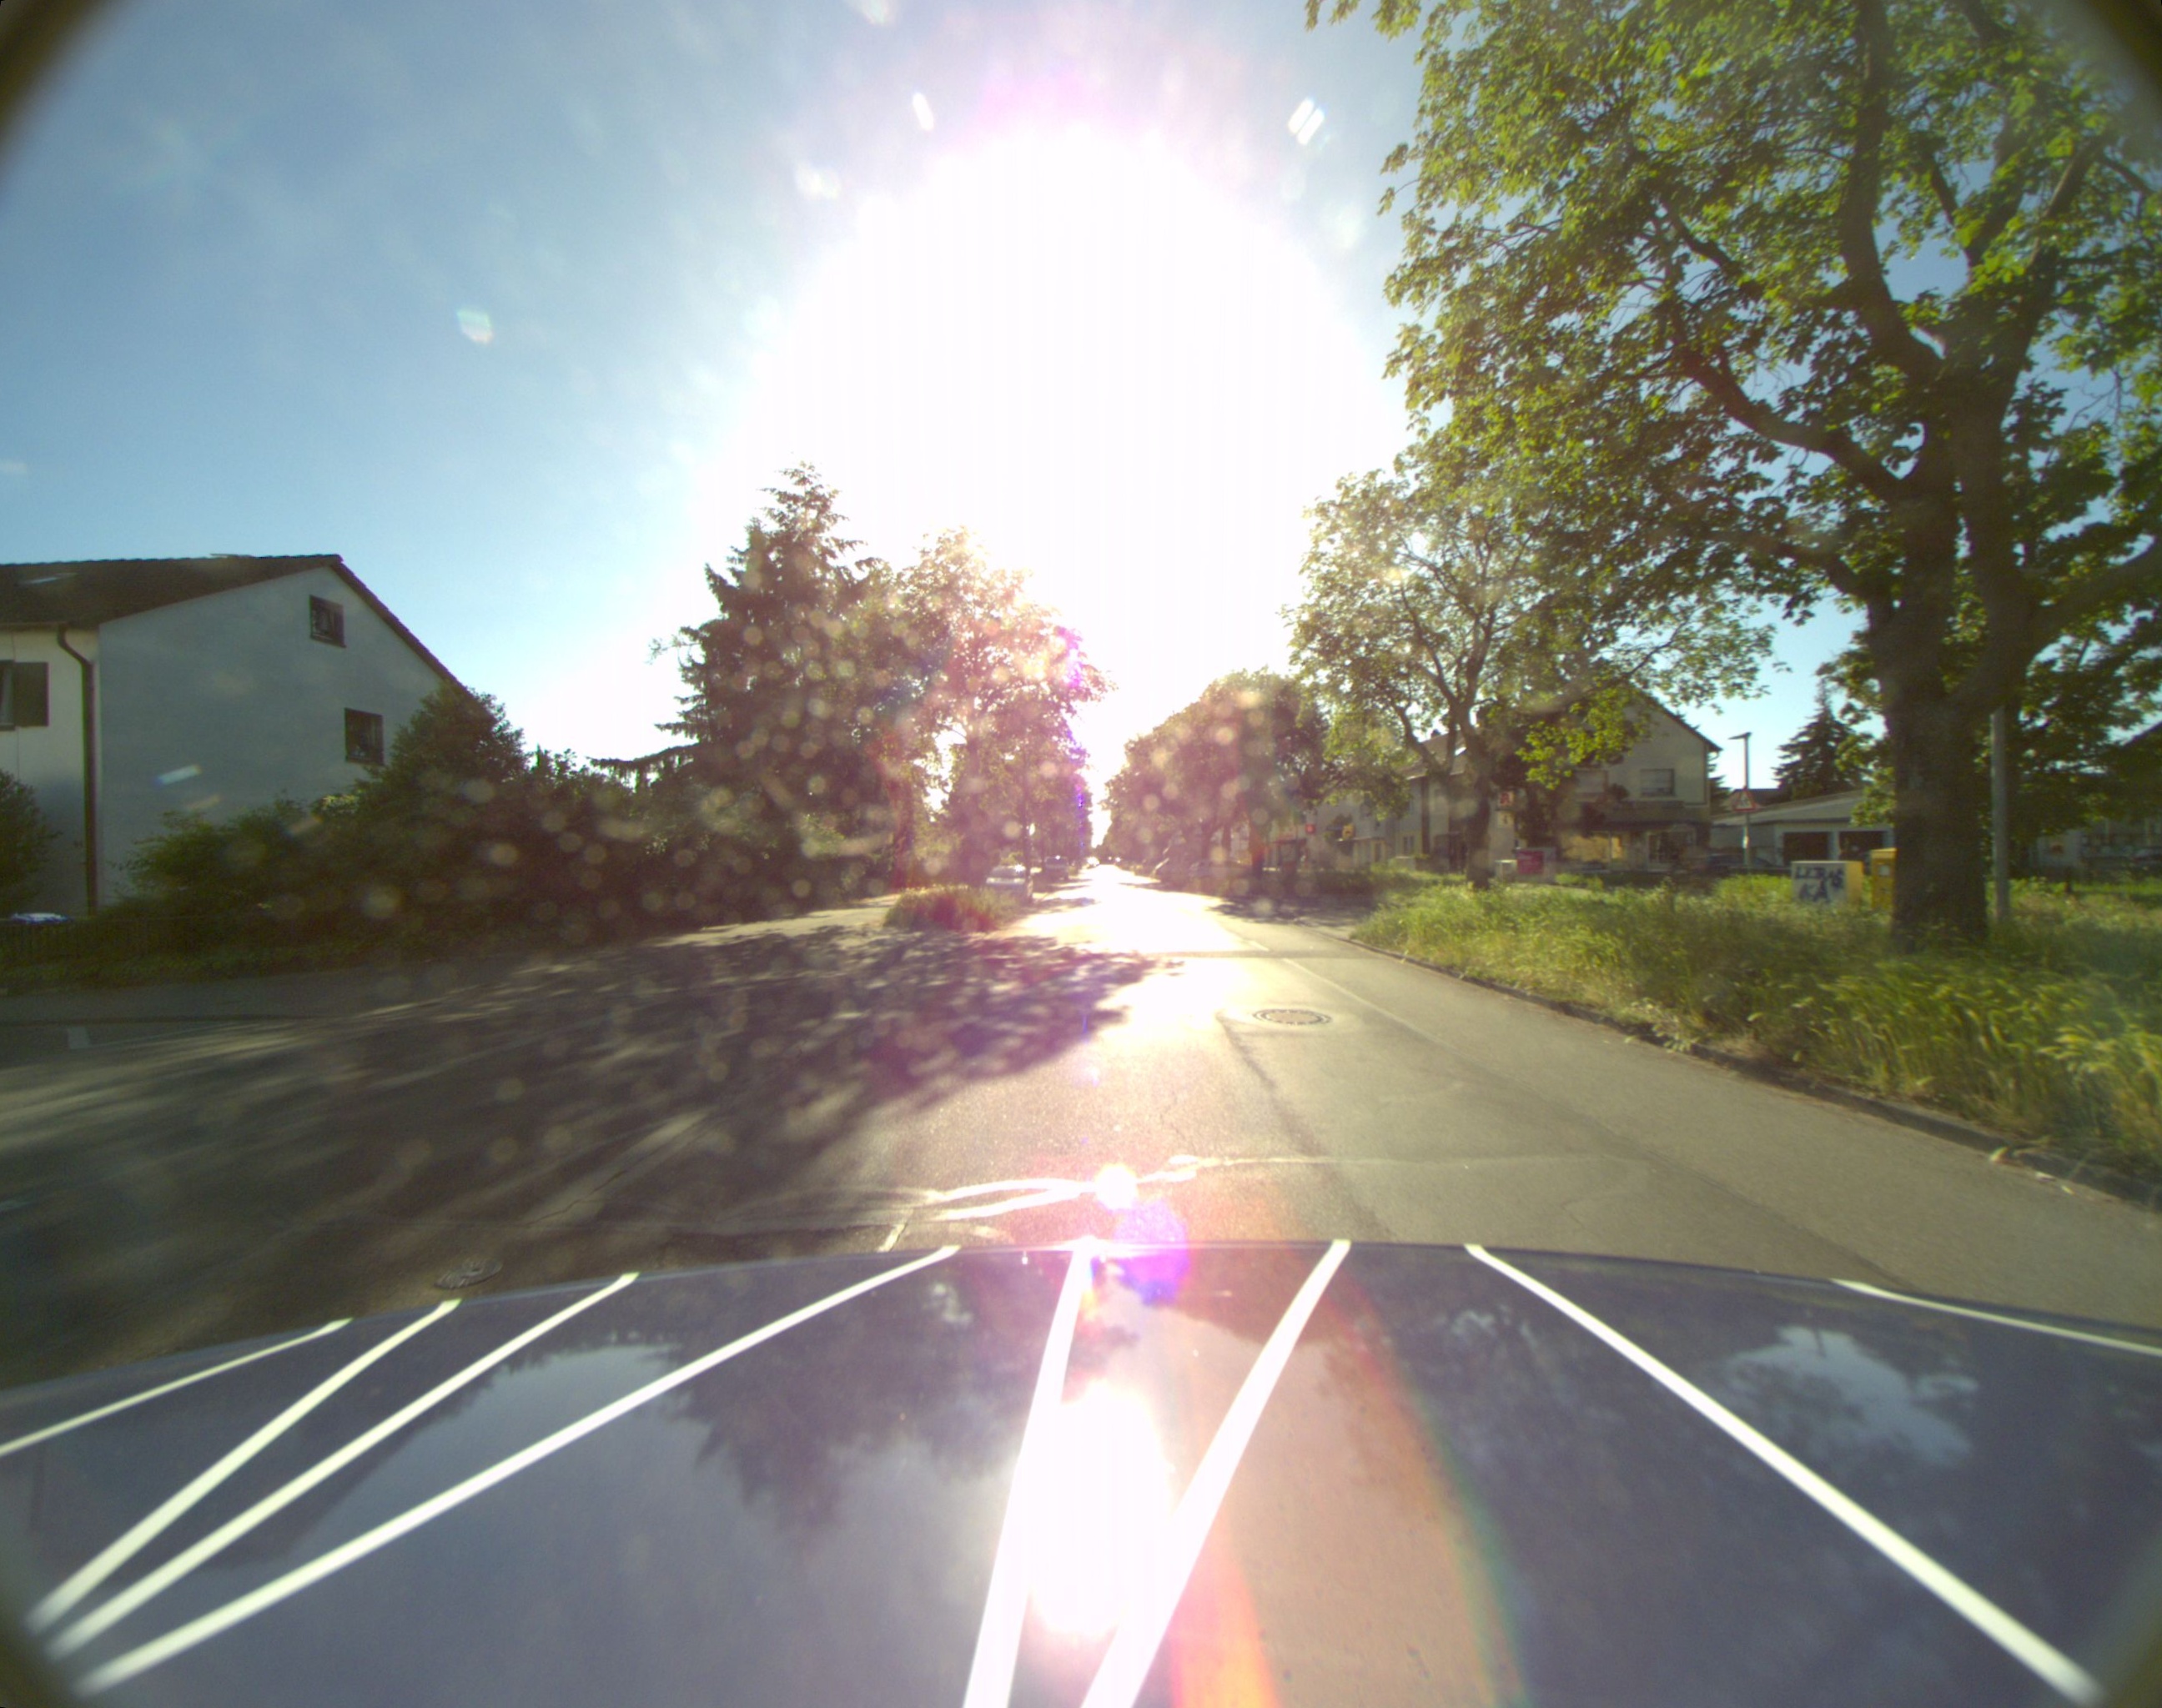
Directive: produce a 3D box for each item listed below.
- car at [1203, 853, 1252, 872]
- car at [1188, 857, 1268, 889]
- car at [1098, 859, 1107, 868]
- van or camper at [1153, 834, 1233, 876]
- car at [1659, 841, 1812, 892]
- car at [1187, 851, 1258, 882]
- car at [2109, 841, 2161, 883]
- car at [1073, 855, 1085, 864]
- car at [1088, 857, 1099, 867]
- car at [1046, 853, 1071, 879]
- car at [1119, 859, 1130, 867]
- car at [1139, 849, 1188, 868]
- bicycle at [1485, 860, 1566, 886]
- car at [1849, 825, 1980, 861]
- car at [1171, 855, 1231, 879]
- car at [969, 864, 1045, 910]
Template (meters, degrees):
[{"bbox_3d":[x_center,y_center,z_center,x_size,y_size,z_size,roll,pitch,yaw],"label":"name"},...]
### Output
[{"bbox_3d":[13.113,0.738,68.152,3.998,1.533,1.869,-3,1,-4],"label":"car"},{"bbox_3d":[8.122,1.030,42.219,3.997,1.651,1.967,-2,0,0],"label":"car"},{"bbox_3d":[4.234,1.780,147.141,1.539,1.582,3.459,-4,1,3],"label":"car"},{"bbox_3d":[8.642,0.080,58.935,5.789,2.789,2.000,-4,1,3],"label":"van or camper"},{"bbox_3d":[23.830,0.435,27.763,3.997,1.704,1.822,-2,0,1],"label":"car"},{"bbox_3d":[8.932,0.776,48.225,3.997,1.580,2.000,-4,1,0],"label":"car"},{"bbox_3d":[41.411,0.268,28.102,3.997,1.531,2.000,-1,0,1],"label":"car"},{"bbox_3d":[-0.291,1.000,140.814,1.941,1.684,4.363,-2,0,3],"label":"car"},{"bbox_3d":[2.049,1.334,126.100,1.539,1.582,3.459,-4,1,3],"label":"car"},{"bbox_3d":[-1.939,1.023,67.253,1.999,2.002,5.195,-4,1,0],"label":"car"},{"bbox_3d":[8.941,1.871,156.611,1.998,1.530,3.695,-4,1,3],"label":"car"},{"bbox_3d":[9.284,0.489,85.663,5.075,1.718,1.999,-4,1,-3],"label":"car"},{"bbox_3d":[21.436,0.913,36.797,0.706,1.169,4.051,-1,0,-15],"label":"bicycle"},{"bbox_3d":[37.991,-0.496,34.762,1.803,1.510,3.758,-2,0,-2],"label":"car"},{"bbox_3d":[8.845,0.925,56.068,3.997,1.450,2.000,-4,1,0],"label":"car"},{"bbox_3d":[-2.748,1.210,29.094,1.997,1.502,4.002,0,1,8],"label":"car"}]
